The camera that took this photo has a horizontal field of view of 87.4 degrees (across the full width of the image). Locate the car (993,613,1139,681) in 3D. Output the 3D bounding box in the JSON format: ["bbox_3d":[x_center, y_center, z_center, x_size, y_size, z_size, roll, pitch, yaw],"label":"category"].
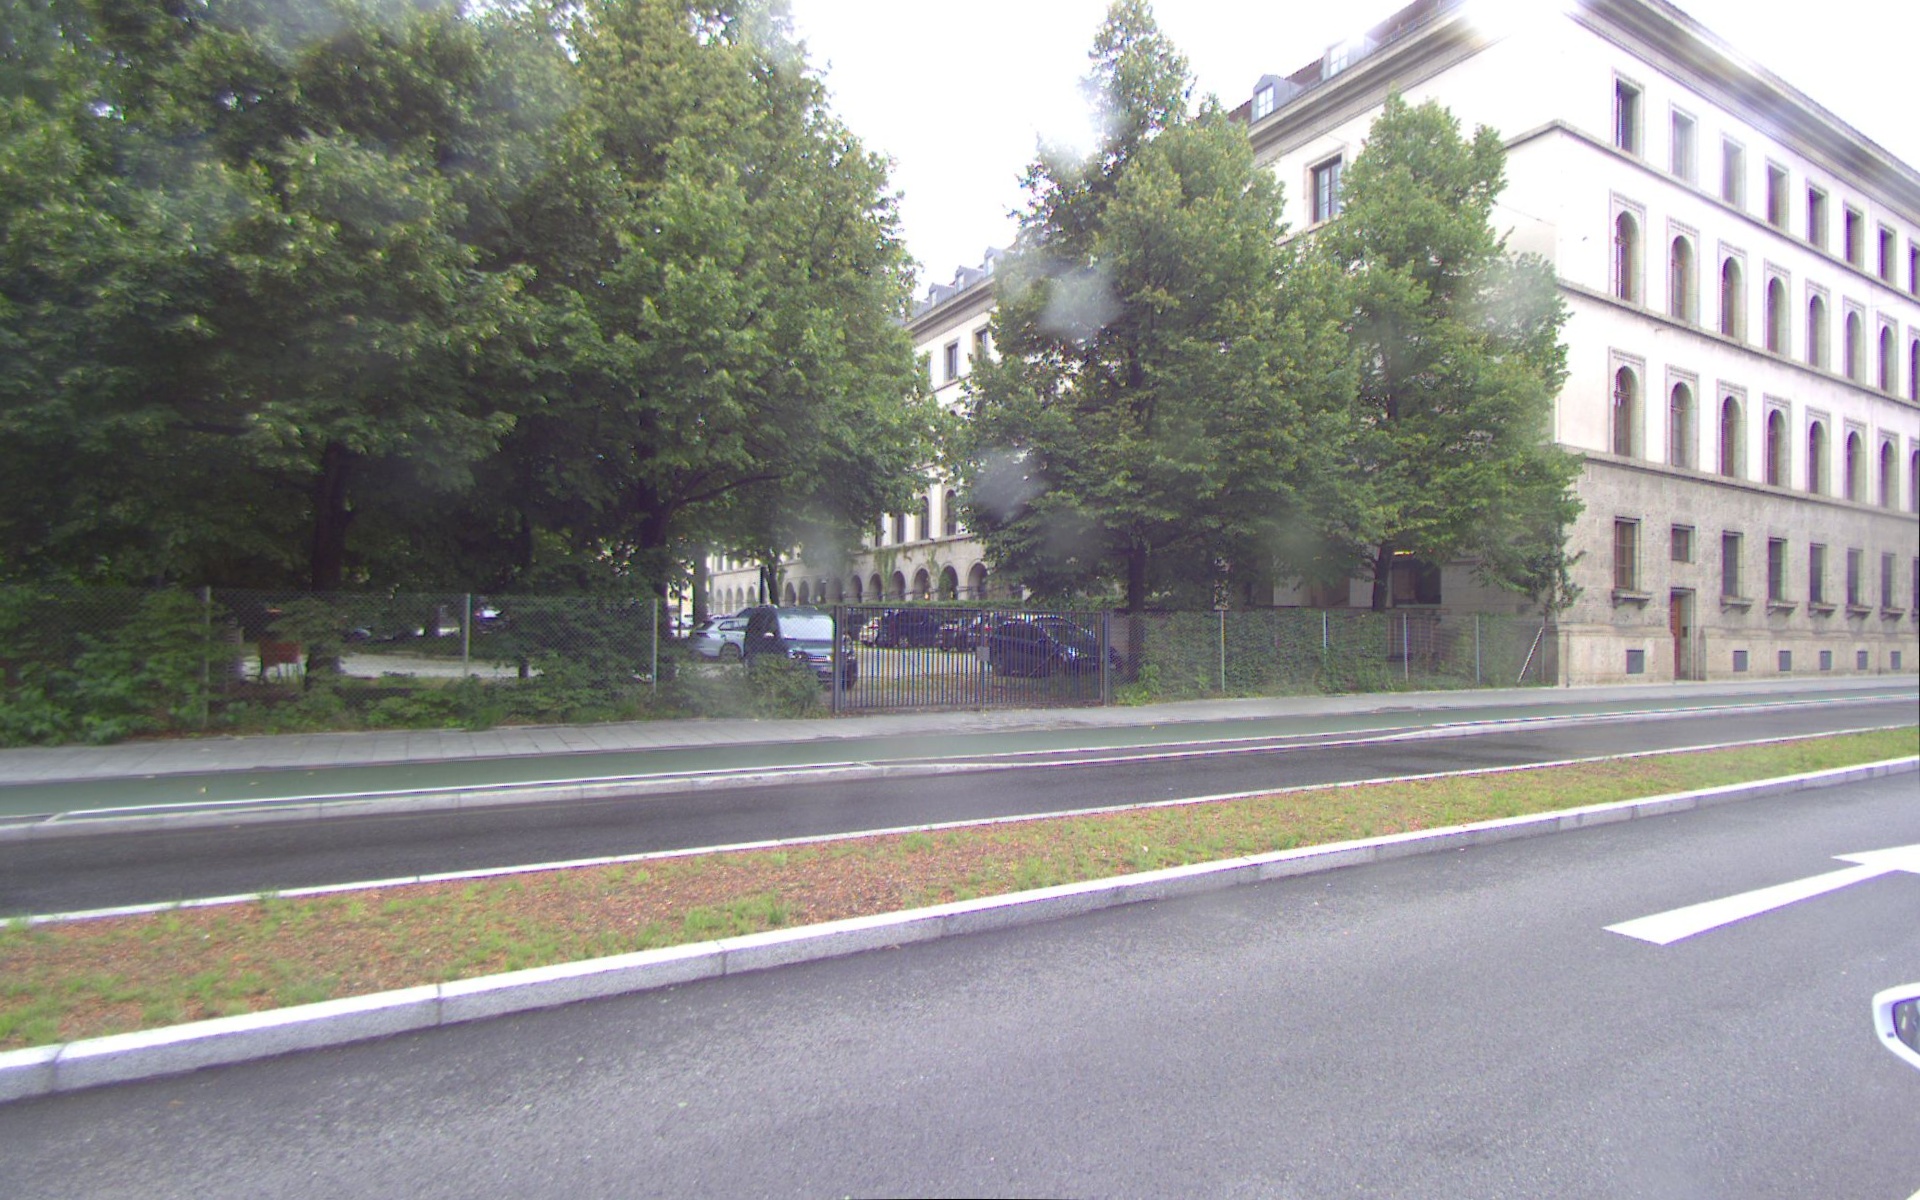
[{"bbox_3d":[2.741,1.206,26.927,1.783,1.671,4.243,1,-2,-30],"label":"car"}]

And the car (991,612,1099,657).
[{"bbox_3d":[3.319,1.351,39.072,3.954,1.661,1.657,2,-1,-31],"label":"car"}]

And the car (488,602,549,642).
[{"bbox_3d":[-20.265,1.007,46.030,1.978,1.742,3.965,1,-1,-32],"label":"car"}]

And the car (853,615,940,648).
[{"bbox_3d":[-3.115,1.543,49.621,3.954,1.564,1.761,2,-1,-31],"label":"car"}]

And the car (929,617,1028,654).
[{"bbox_3d":[0.794,1.523,43.251,3.954,1.564,1.761,2,-1,-31],"label":"car"}]

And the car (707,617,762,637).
[{"bbox_3d":[-18.318,2.216,81.631,3.954,1.564,1.761,2,-1,-31],"label":"car"}]

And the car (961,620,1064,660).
[{"bbox_3d":[2.171,1.613,41.203,3.954,1.564,1.761,2,-1,-31],"label":"car"}]

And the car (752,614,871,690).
[{"bbox_3d":[-3.566,1.172,23.565,1.779,1.610,4.137,1,-2,-23],"label":"car"}]

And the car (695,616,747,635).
[{"bbox_3d":[-20.517,2.170,86.237,3.954,1.564,1.761,2,-1,-31],"label":"car"}]

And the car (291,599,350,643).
[{"bbox_3d":[-26.903,0.884,42.319,1.978,1.742,3.965,1,-1,-32],"label":"car"}]

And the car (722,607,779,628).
[{"bbox_3d":[-16.231,1.353,77.832,3.954,1.564,1.761,2,-1,-31],"label":"car"}]

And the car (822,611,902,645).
[{"bbox_3d":[-5.276,1.531,54.076,3.954,1.755,1.761,1,-1,-31],"label":"car"}]

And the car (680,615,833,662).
[{"bbox_3d":[-6.718,1.275,33.230,4.579,1.460,1.984,2,-1,-31],"label":"car"}]

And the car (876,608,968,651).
[{"bbox_3d":[-1.808,1.409,47.603,3.949,1.954,1.838,1,-1,-27],"label":"car"}]

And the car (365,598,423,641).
[{"bbox_3d":[-24.320,0.855,43.087,1.978,1.742,3.965,1,-1,-32],"label":"car"}]
